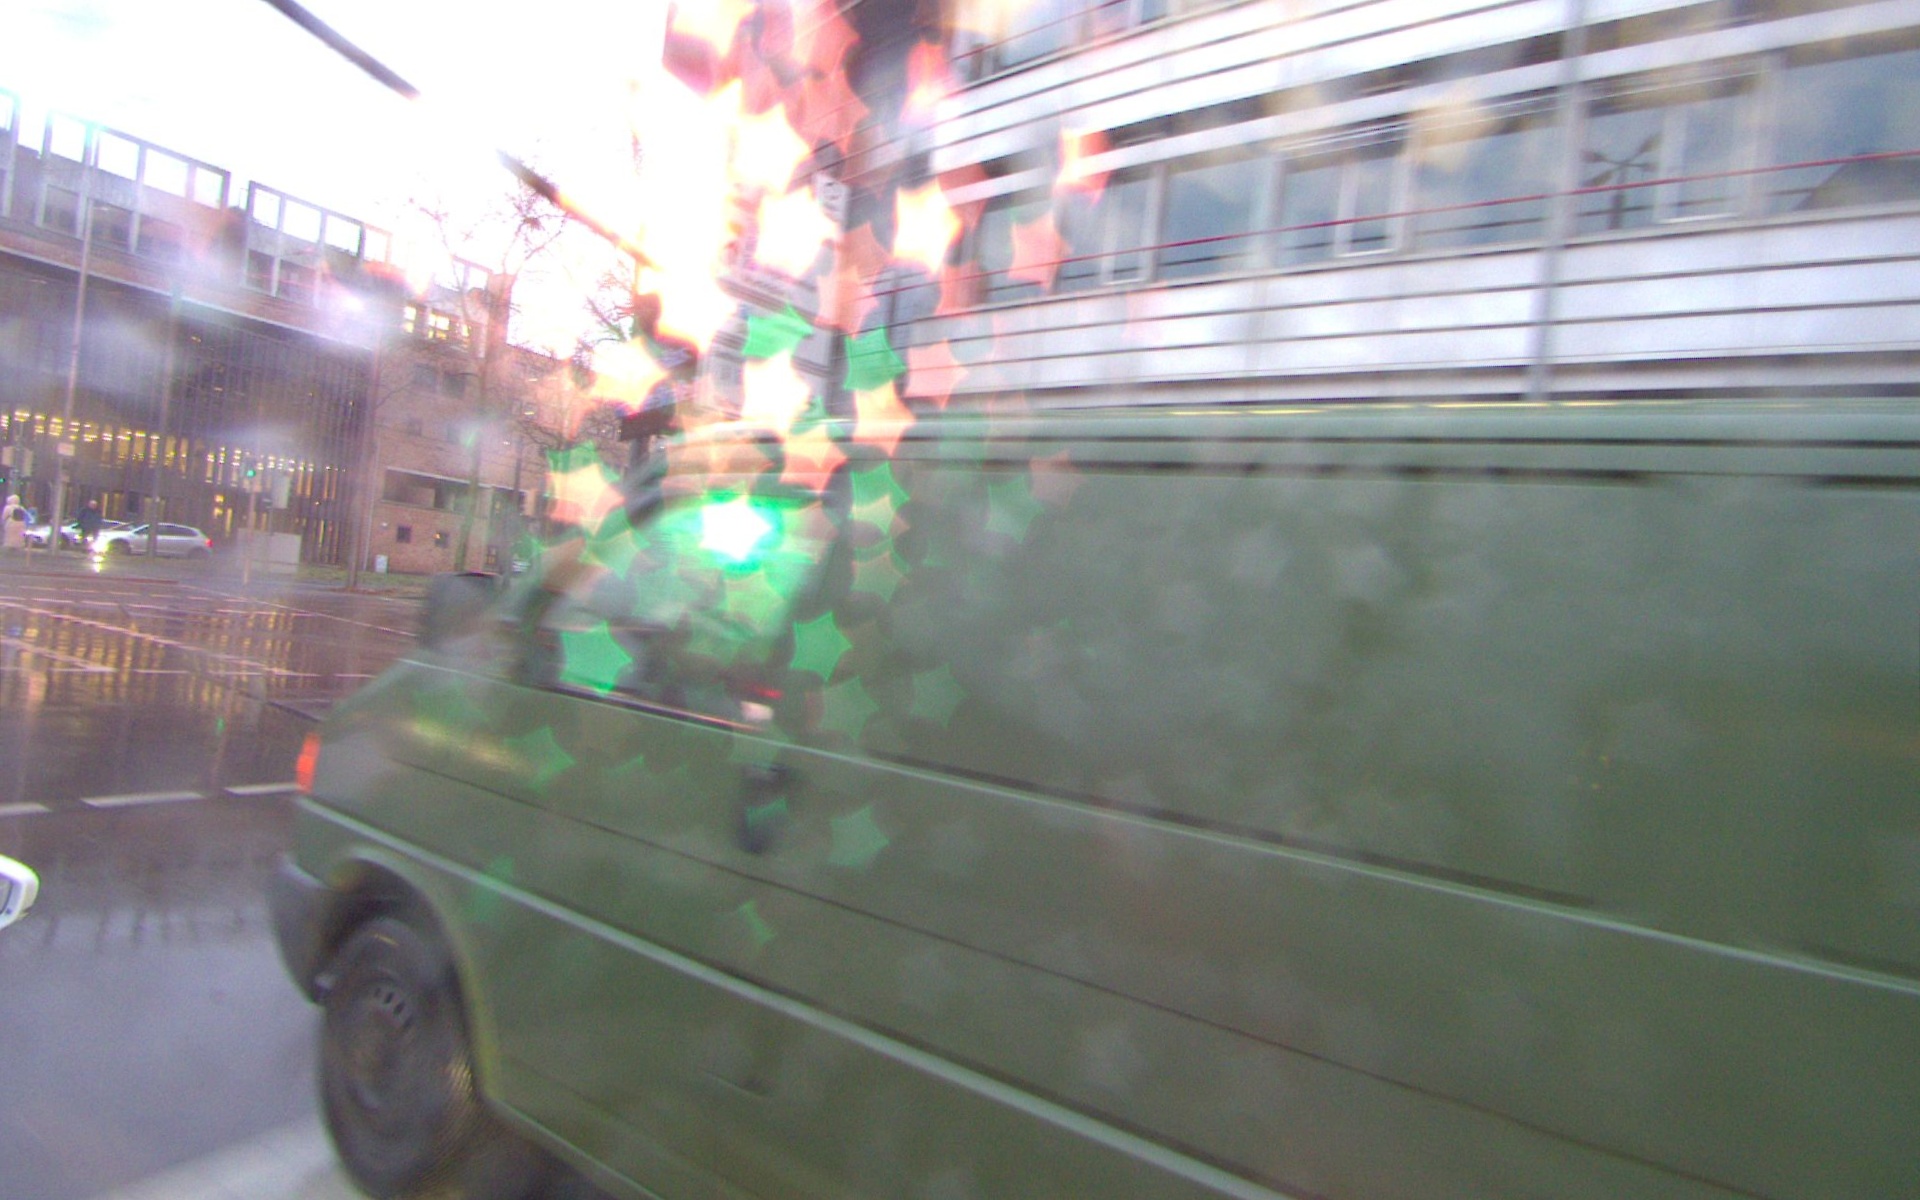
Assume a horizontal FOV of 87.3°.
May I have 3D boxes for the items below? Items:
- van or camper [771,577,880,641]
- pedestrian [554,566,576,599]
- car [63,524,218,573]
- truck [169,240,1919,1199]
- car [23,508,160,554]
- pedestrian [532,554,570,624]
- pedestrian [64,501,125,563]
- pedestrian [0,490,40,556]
[{"bbox_3d":[-4.989,0.401,38.061,1.808,1.952,4.748,6,-1,22],"label":"van or camper"},{"bbox_3d":[-17.095,-0.754,43.538,0.470,1.381,0.606,6,1,30],"label":"pedestrian"},{"bbox_3d":[-30.059,-1.853,37.035,1.782,1.358,3.989,6,1,24],"label":"car"},{"bbox_3d":[0.354,0.613,2.366,4.541,1.939,1.908,6,-2,32],"label":"truck"},{"bbox_3d":[-37.005,-2.935,42.977,1.781,1.326,3.993,6,-1,24],"label":"car"},{"bbox_3d":[-11.122,-0.296,27.382,0.640,1.833,0.798,6,0,-12],"label":"pedestrian"},{"bbox_3d":[-27.972,-2.179,32.540,0.763,1.809,1.152,6,0,23],"label":"pedestrian"},{"bbox_3d":[-27.482,-2.242,29.240,0.721,1.809,0.736,6,0,18],"label":"pedestrian"}]
